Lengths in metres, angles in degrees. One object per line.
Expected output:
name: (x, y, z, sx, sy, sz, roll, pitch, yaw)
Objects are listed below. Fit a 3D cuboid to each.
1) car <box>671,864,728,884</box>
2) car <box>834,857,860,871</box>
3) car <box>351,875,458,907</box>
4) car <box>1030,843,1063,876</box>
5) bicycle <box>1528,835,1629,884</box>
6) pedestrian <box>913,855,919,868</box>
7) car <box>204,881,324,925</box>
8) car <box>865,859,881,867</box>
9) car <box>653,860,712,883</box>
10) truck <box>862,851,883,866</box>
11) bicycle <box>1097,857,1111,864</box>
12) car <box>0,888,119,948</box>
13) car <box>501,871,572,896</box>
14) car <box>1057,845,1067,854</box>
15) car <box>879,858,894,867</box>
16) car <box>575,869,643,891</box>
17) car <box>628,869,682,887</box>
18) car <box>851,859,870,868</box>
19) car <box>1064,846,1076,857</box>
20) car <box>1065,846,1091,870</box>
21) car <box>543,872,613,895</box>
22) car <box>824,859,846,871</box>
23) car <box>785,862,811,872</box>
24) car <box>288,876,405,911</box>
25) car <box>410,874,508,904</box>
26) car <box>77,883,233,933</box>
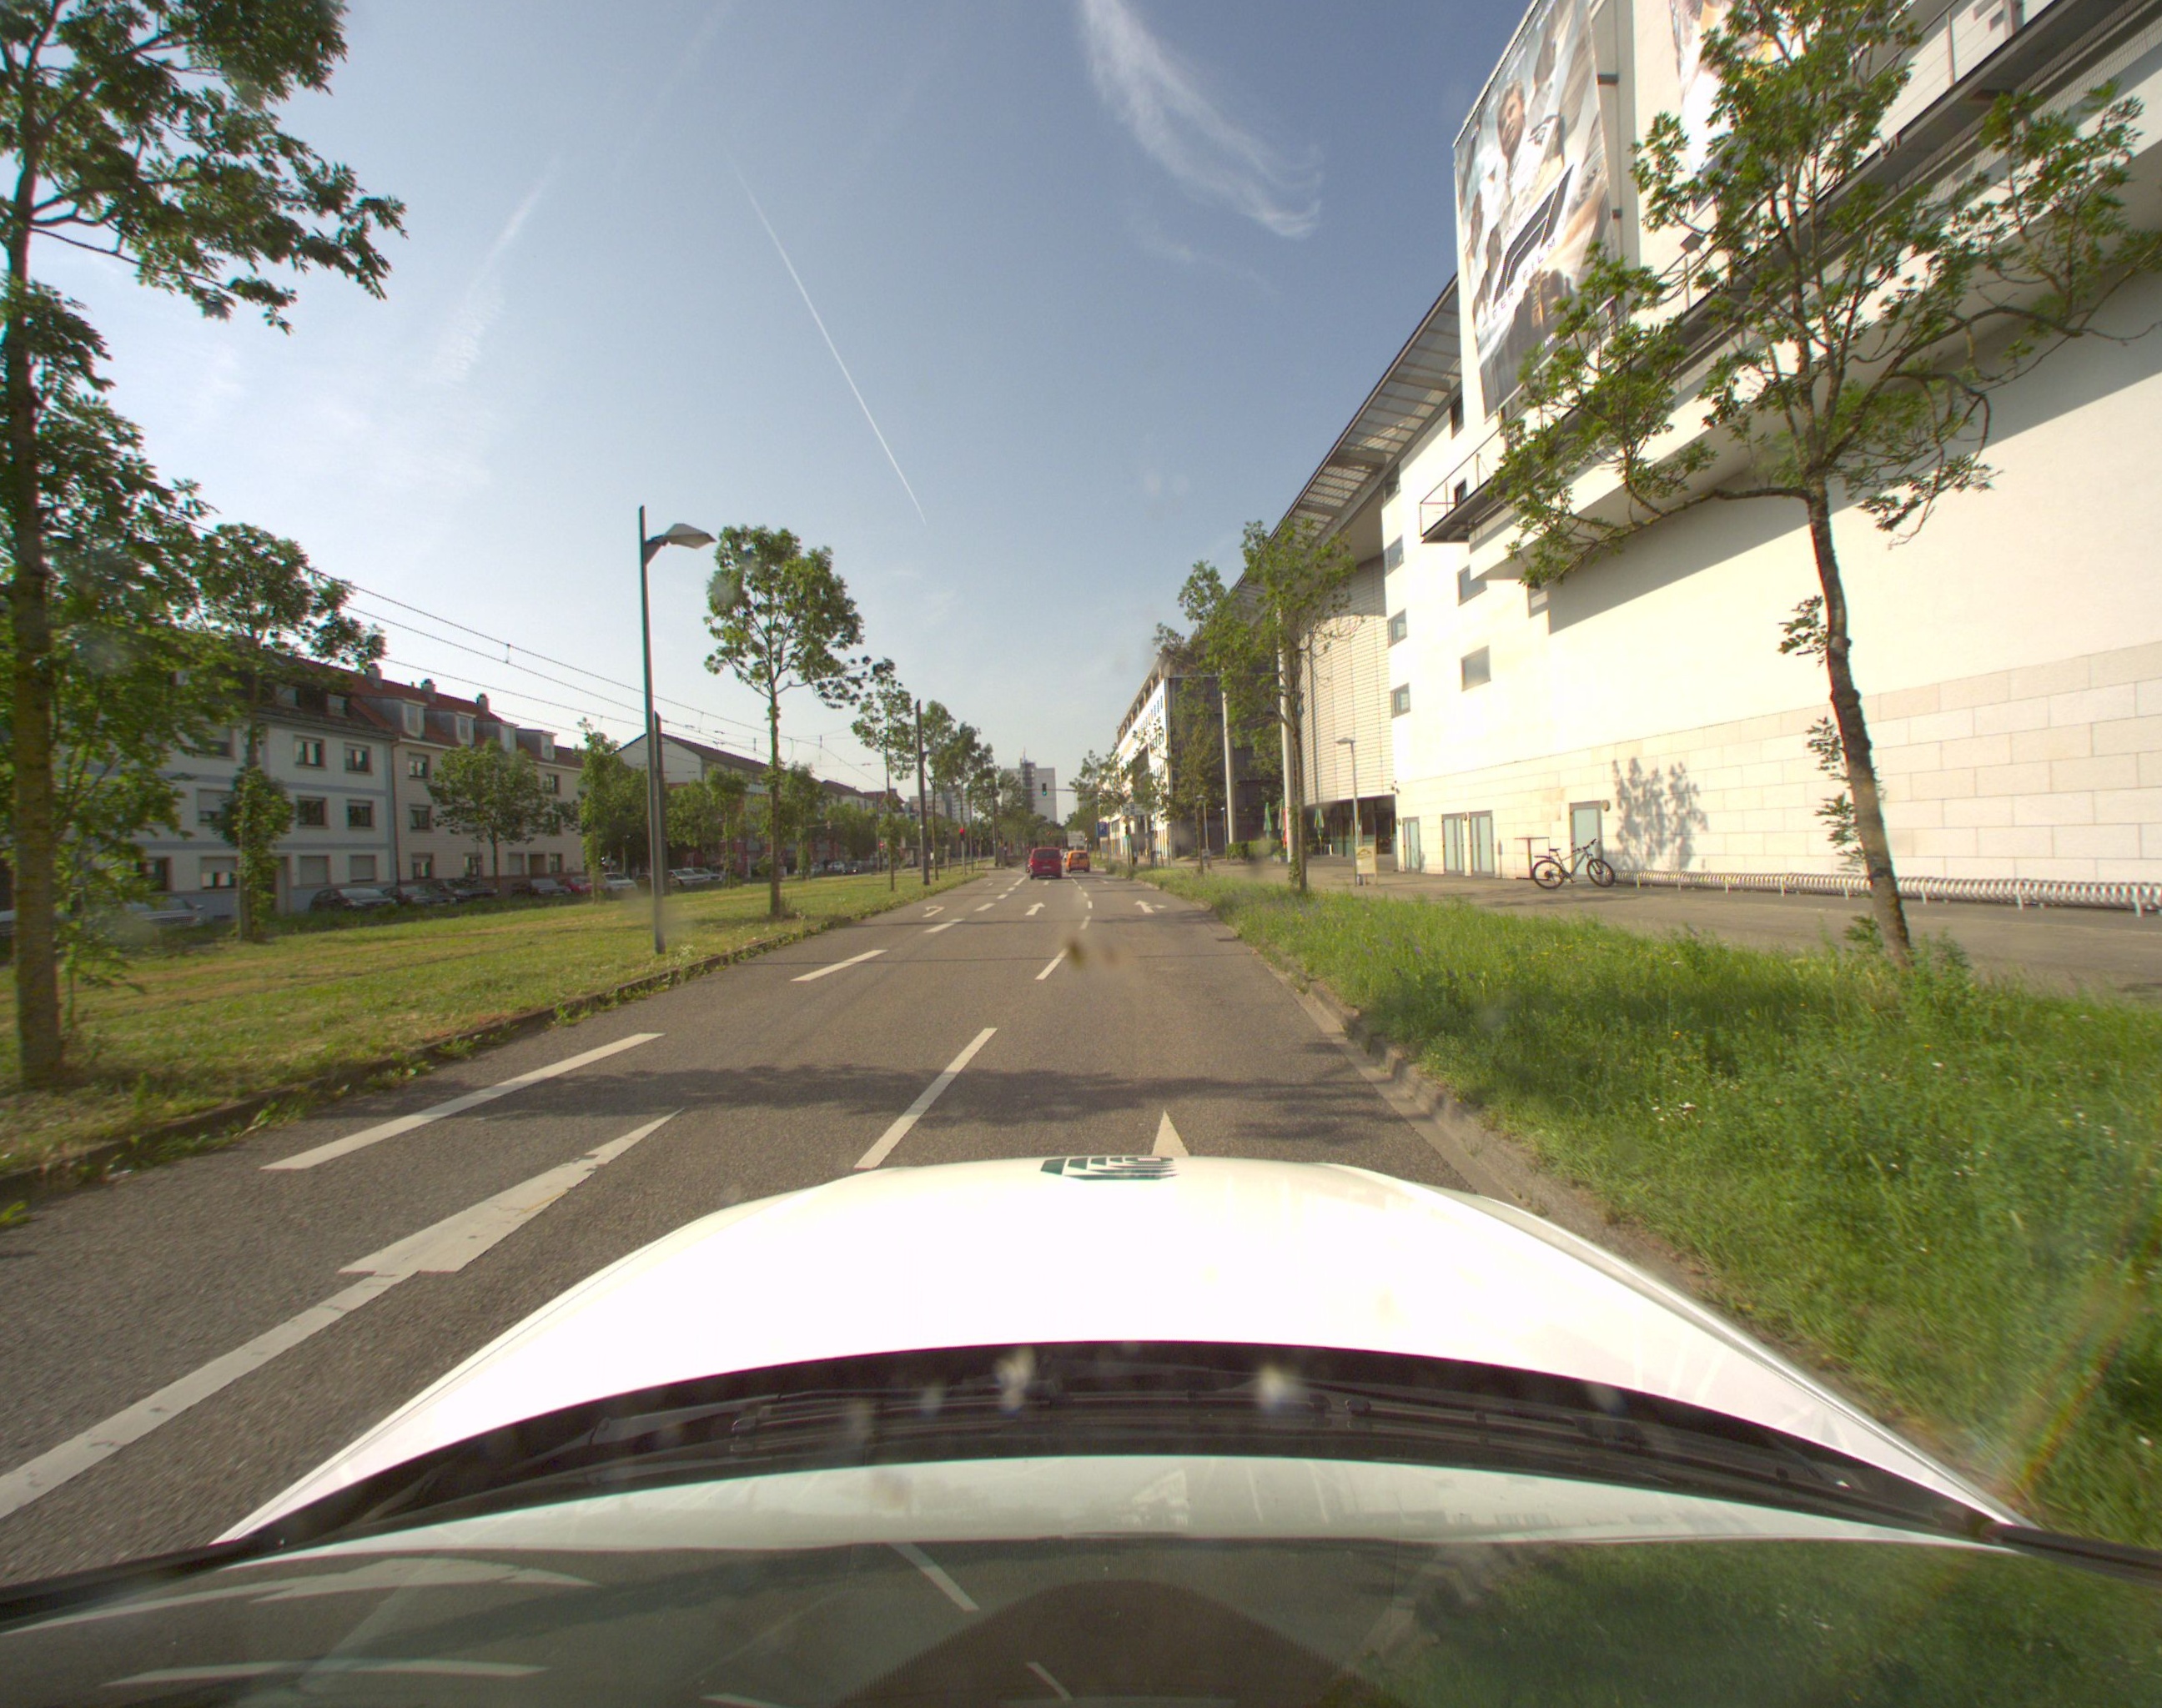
car: (-30.327, 1.583, 64.724, 4.297, 1.463, 1.976, -1, 0, 31)
car: (-30.446, 1.284, 105.995, 1.988, 1.706, 4.710, -2, 0, -1)
car: (-29.578, 1.570, 35.622, 3.951, 1.288, 2.011, -1, 0, 23)
car: (-2.136, 0.301, 49.353, 1.870, 1.853, 3.995, -2, 0, -3)
bicycle: (12.065, 0.126, 19.781, 2.001, 1.102, 0.676, -2, 0, 2)
pedestrian: (-20.867, 0.929, 102.985, 0.671, 1.653, 0.793, -2, 0, -7)
car: (-28.263, 1.640, 28.170, 3.735, 1.376, 1.674, -1, 0, 23)
car: (-35.367, 1.533, 138.521, 1.976, 1.360, 4.065, -1, 0, -3)
car: (-29.932, 1.324, 61.108, 4.406, 1.514, 2.013, -2, 0, 34)
truck: (-39.161, 0.857, 153.397, 2.360, 2.562, 7.233, -2, 1, -3)
bicycle: (2.389, 0.667, 84.238, 1.265, 0.632, 0.522, -8, -1, 4)
car: (-28.312, 1.677, 22.035, 3.951, 1.376, 1.938, -1, 0, 24)
car: (-29.929, 1.602, 44.750, 3.949, 1.235, 1.710, -1, 0, 31)
car: (-4.389, -0.975, 188.296, 1.989, 2.013, 3.997, -3, 0, -2)
car: (-35.646, 1.539, 149.217, 1.976, 1.513, 4.276, -1, 0, -3)
car: (-29.803, 1.611, 51.411, 3.950, 1.269, 1.898, -1, 0, 27)
car: (-30.546, 1.685, 58.421, 3.948, 1.178, 2.013, -1, 0, 38)
car: (-34.951, 1.526, 129.267, 1.976, 1.360, 4.065, -1, 0, -3)
car: (-1.723, -0.441, 124.451, 1.684, 1.526, 3.848, -4, 0, -2)
car: (-0.259, 0.292, 63.762, 1.871, 1.696, 3.971, -2, 0, -2)
car: (-29.865, 1.732, 48.317, 3.949, 1.258, 1.887, -1, 0, 30)
car: (-34.382, 1.516, 113.923, 1.976, 1.556, 4.532, -1, 0, -3)
car: (-34.011, 1.507, 98.061, 1.829, 1.147, 4.160, -1, 0, -3)
car: (-29.566, 1.554, 32.796, 3.951, 1.288, 2.011, -1, 0, 23)
car: (-29.087, 1.592, 38.086, 4.009, 1.288, 2.011, -1, 0, 25)
car: (-29.257, 1.649, 25.742, 4.287, 1.376, 2.011, -1, 0, 23)
